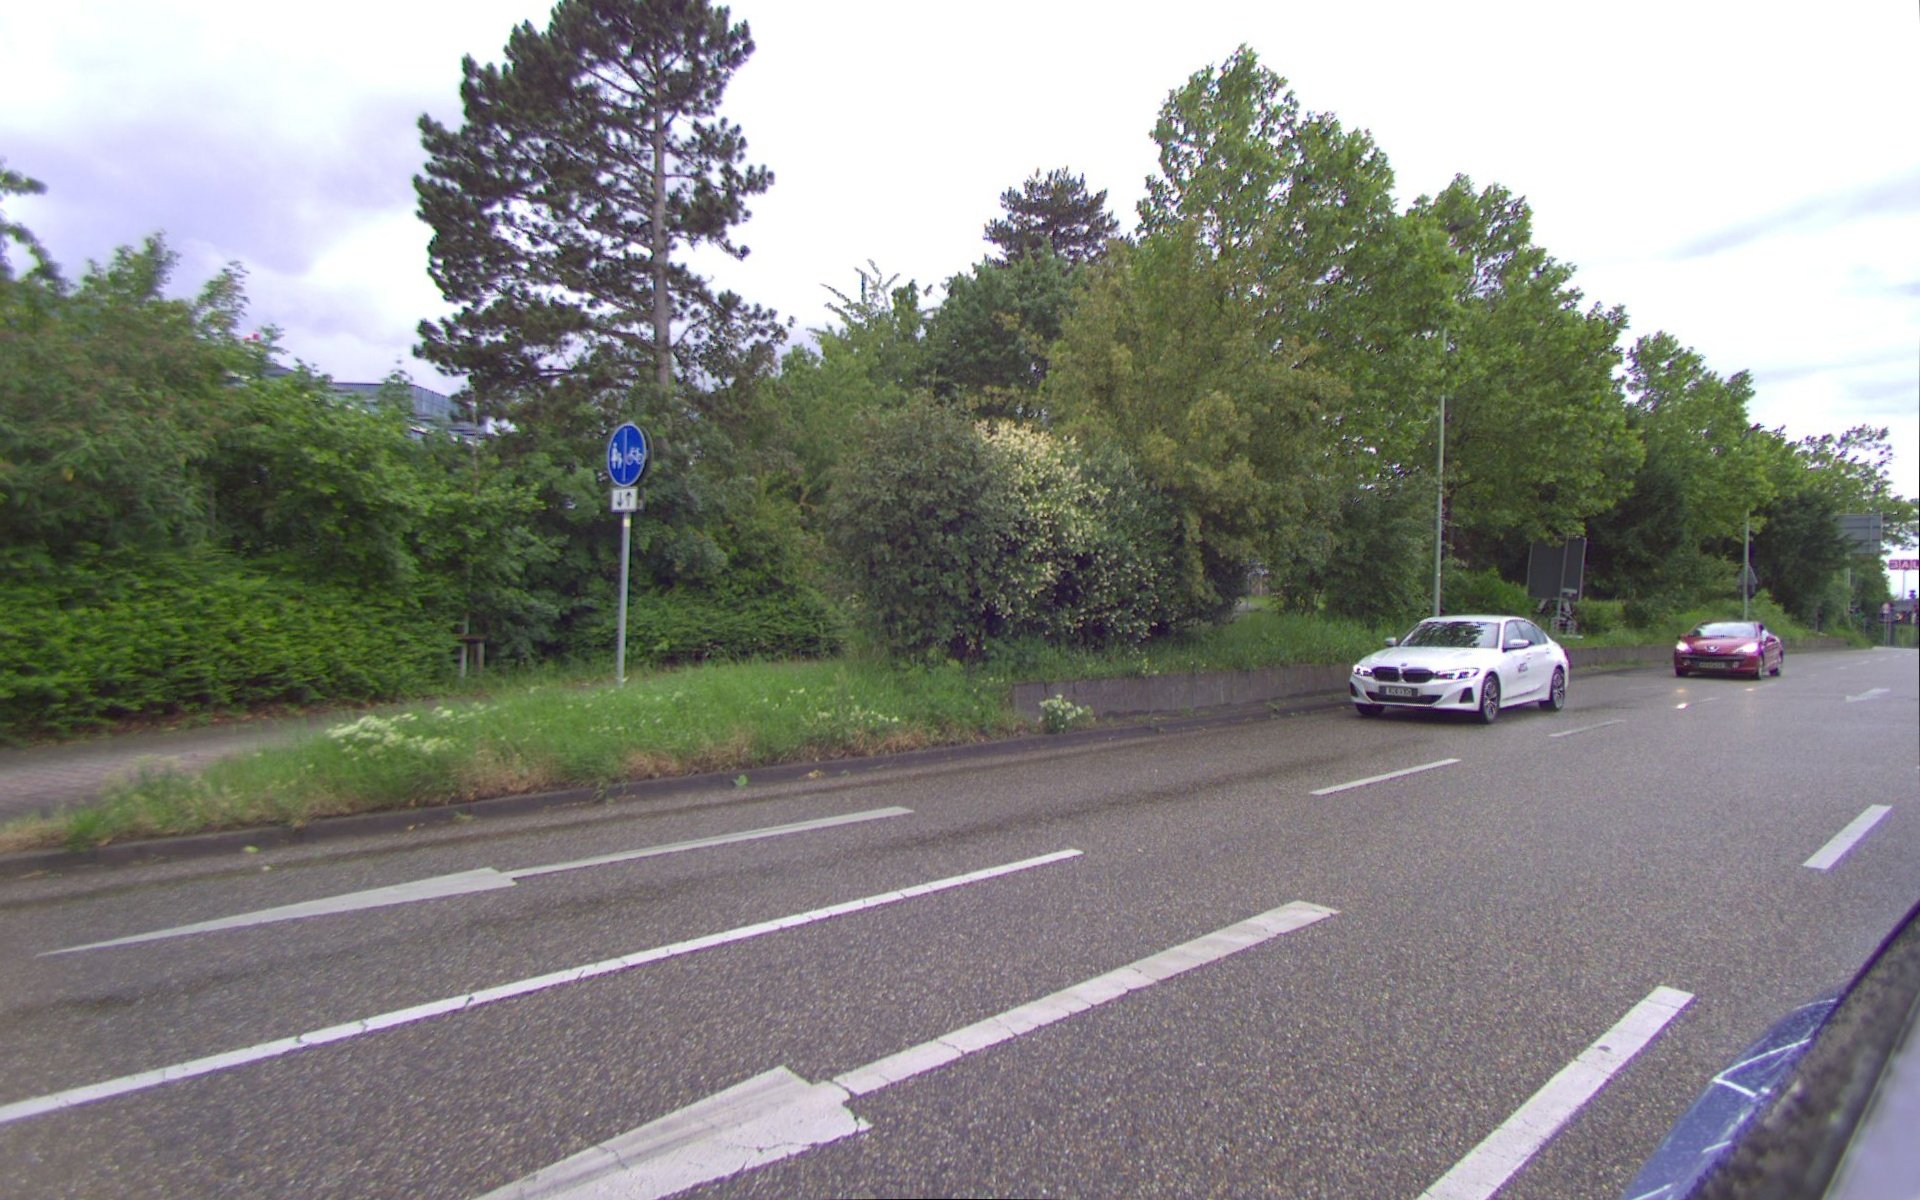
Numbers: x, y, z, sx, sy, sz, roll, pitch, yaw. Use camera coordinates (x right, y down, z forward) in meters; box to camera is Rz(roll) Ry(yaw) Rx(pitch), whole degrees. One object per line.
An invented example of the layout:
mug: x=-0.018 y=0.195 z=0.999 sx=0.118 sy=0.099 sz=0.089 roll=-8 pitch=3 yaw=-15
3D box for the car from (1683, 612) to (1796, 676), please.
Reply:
car: x=19.234 y=1.016 z=24.935 sx=3.627 sy=1.421 sz=1.627 roll=0 pitch=0 yaw=-43

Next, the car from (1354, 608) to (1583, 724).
car: x=7.637 y=0.862 z=15.005 sx=4.232 sy=1.445 sz=1.666 roll=0 pitch=0 yaw=-43
